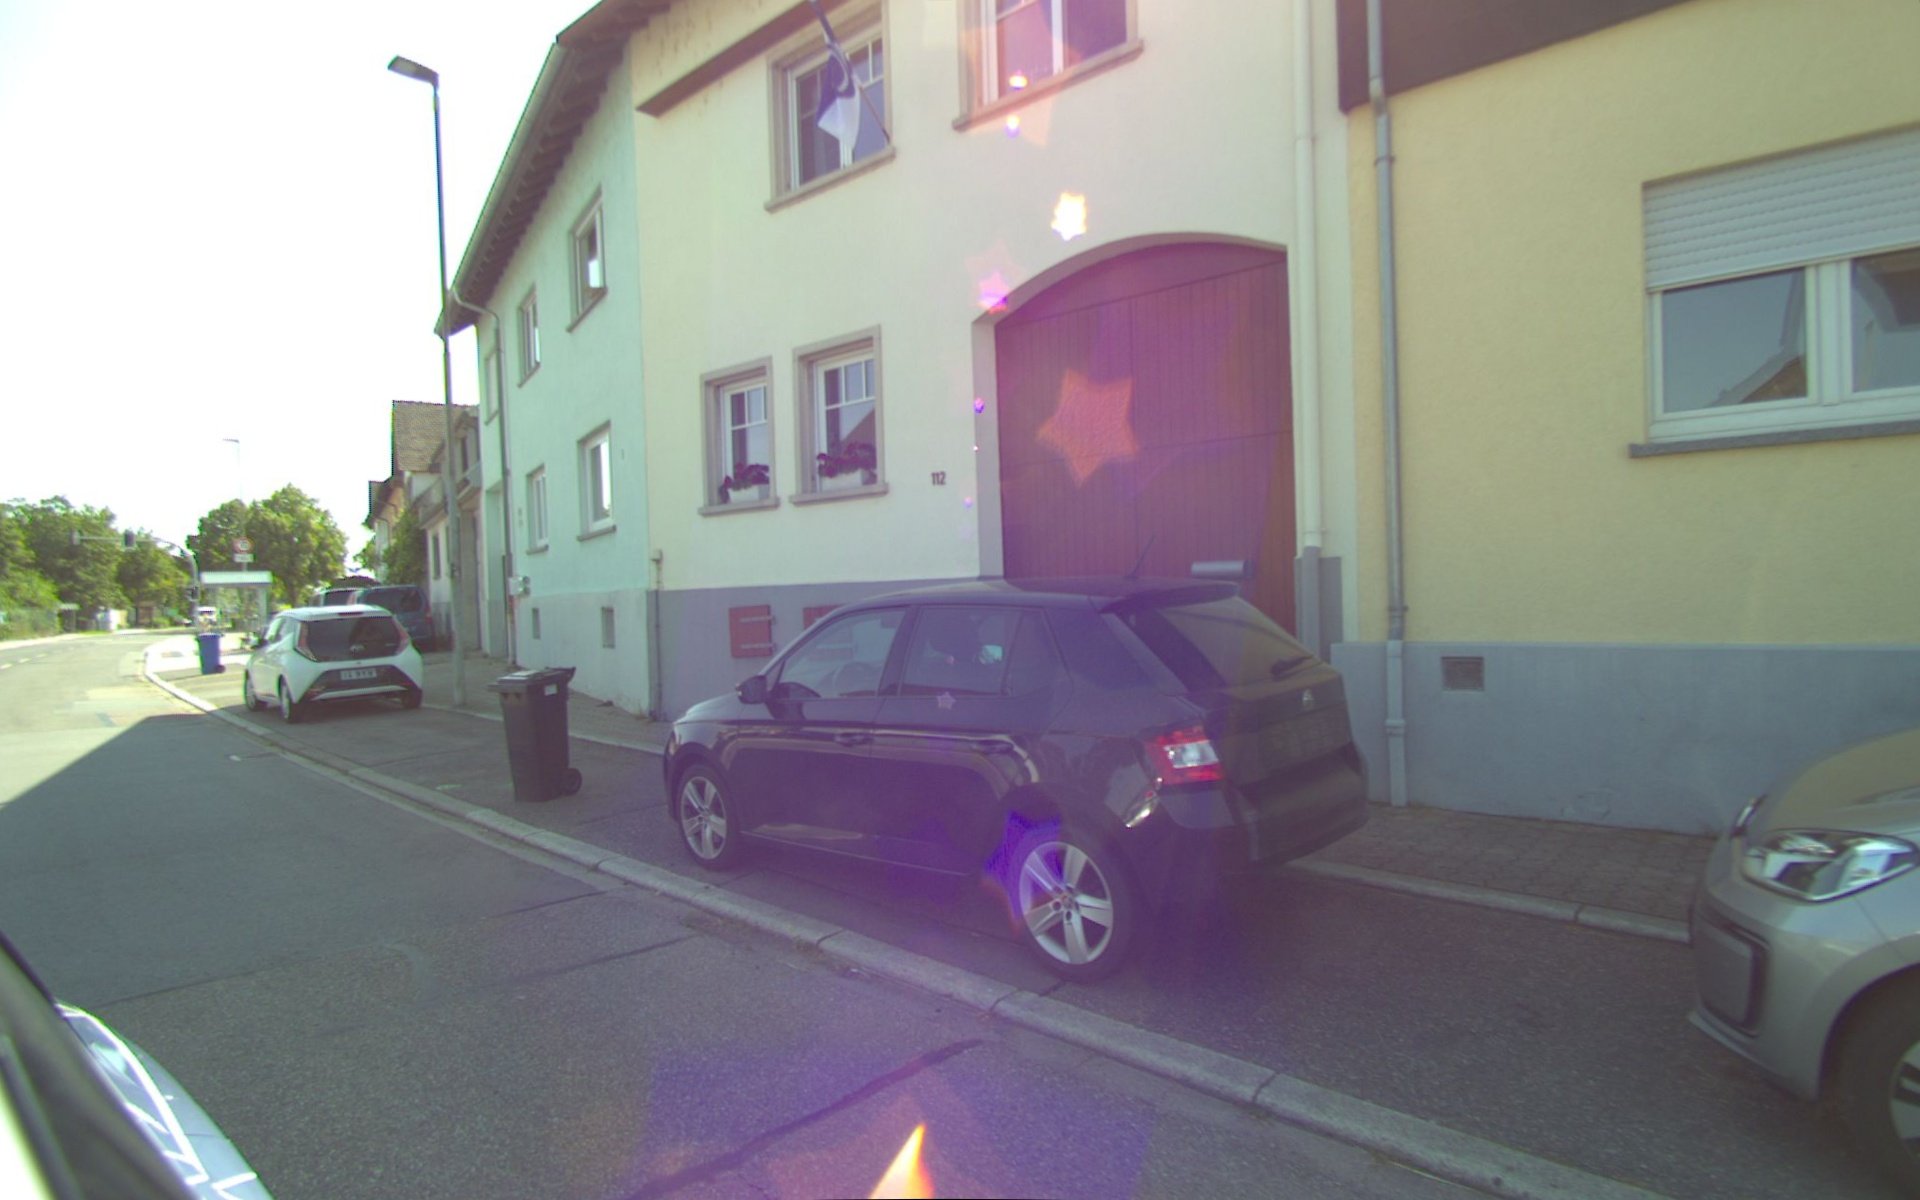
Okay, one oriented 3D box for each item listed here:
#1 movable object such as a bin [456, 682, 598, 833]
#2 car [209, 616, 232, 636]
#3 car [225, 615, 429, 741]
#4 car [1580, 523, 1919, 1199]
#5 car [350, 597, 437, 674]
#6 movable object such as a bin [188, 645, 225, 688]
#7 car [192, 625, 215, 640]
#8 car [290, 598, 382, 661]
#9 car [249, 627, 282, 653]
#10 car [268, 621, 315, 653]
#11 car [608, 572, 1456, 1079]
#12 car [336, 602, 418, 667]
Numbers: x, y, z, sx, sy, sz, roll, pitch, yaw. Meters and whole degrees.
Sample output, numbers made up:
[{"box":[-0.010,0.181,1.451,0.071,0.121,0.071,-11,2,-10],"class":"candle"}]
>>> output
[{"box":[-3.162,1.115,7.386,0.824,0.935,0.546,-2,4,38],"class":"movable object such as a bin"},{"box":[-95.911,3.352,131.250,1.907,2.521,5.855,-1,0,-32],"class":"car"},{"box":[-9.034,0.992,14.327,1.665,1.473,3.651,-2,1,-45],"class":"car"},{"box":[3.451,0.540,1.755,3.782,1.512,1.623,-1,2,43],"class":"car"},{"box":[-15.348,0.899,27.398,1.812,1.806,4.356,-5,2,-30],"class":"car"},{"box":[-17.629,1.556,23.689,0.514,0.943,0.551,-2,2,42],"class":"movable object such as a bin"},{"box":[-91.185,3.894,122.060,1.816,1.604,4.117,-1,0,-32],"class":"car"},{"box":[-23.567,1.047,38.125,2.100,2.000,5.275,-8,4,-39],"class":"car"},{"box":[-44.260,2.513,64.457,1.691,1.418,4.409,0,0,-35],"class":"car"},{"box":[-33.565,1.874,50.791,1.692,1.464,3.923,-3,0,-37],"class":"car"},{"box":[0.047,0.693,5.021,3.996,1.447,1.660,-1,3,43],"class":"car"},{"box":[-18.230,1.005,31.545,1.941,1.787,4.289,-2,1,-33],"class":"car"}]
